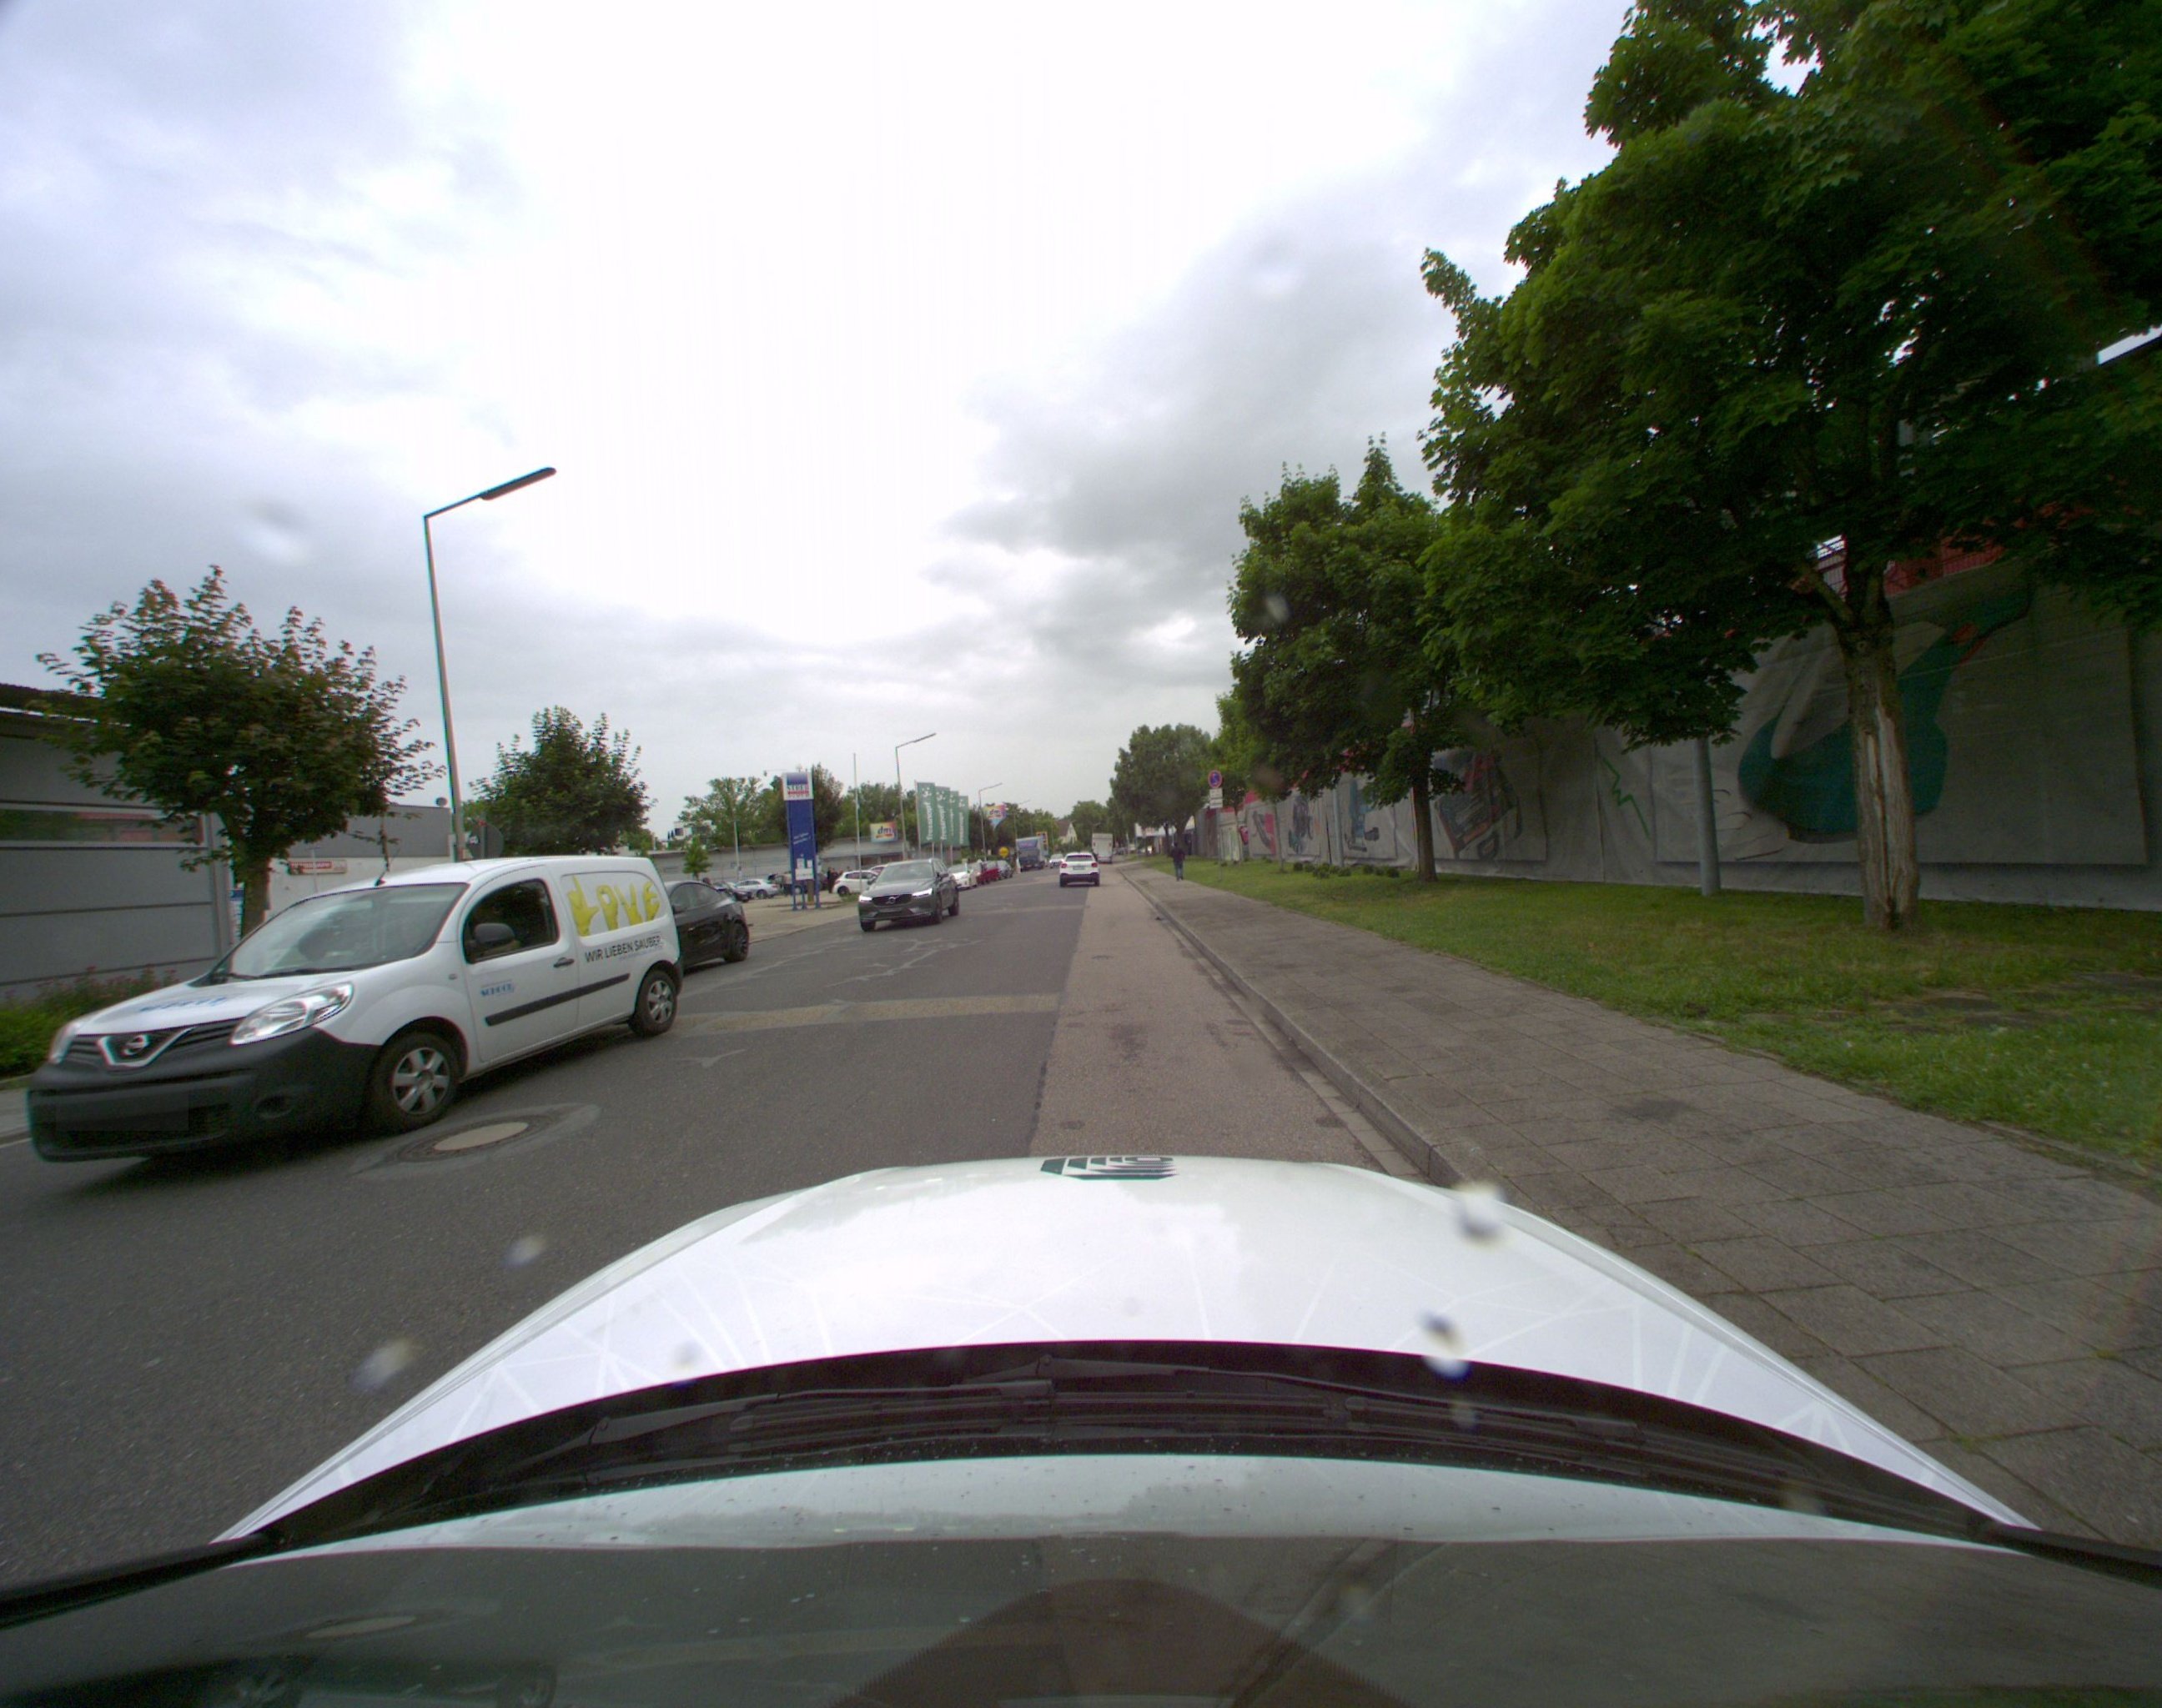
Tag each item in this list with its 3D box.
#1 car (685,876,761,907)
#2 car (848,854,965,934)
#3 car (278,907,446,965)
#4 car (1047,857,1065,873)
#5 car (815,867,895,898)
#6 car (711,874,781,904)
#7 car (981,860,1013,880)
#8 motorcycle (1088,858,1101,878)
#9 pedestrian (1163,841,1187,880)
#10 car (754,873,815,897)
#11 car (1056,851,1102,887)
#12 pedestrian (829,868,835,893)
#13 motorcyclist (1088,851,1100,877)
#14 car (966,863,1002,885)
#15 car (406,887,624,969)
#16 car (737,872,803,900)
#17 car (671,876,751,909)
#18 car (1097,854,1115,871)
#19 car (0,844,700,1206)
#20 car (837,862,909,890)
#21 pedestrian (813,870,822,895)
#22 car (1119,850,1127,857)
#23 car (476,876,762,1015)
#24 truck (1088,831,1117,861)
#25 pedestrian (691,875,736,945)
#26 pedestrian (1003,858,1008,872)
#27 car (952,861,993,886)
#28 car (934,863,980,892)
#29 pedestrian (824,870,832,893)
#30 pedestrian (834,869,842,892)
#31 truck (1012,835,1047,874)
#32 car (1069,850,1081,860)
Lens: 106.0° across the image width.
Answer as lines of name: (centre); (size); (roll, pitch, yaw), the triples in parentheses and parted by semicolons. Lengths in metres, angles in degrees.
car: (-23.396, 2.432, 53.342); (3.973, 1.669, 1.877); (-5, 0, 1)
car: (-4.362, 0.924, 21.122); (1.927, 1.683, 4.494); (-5, 0, 0)
car: (-23.795, 2.662, 27.189); (1.862, 1.485, 4.004); (-3, -1, 3)
car: (-2.784, 1.249, 89.920); (1.597, 1.528, 3.521); (-6, -1, -5)
car: (-13.326, 1.674, 48.218); (4.199, 1.463, 1.948); (-4, 0, -7)
car: (-23.444, 2.441, 57.030); (3.973, 1.669, 1.877); (-5, 0, 1)
car: (-6.517, 1.211, 63.868); (1.891, 1.367, 4.001); (-4, 0, 1)
motorcycle: (0.851, 0.853, 50.222); (0.638, 1.178, 2.115); (-4, 0, 3)
pedestrian: (4.048, 0.269, 35.086); (0.915, 1.635, 0.853); (-3, -1, 3)
car: (-23.058, 2.430, 63.421); (3.972, 1.492, 1.787); (-4, 0, 2)
car: (-0.035, 0.645, 37.521); (1.879, 1.531, 4.256); (-2, 0, 2)
pedestrian: (-17.310, 1.862, 56.602); (0.263, 1.729, 0.421); (-4, 0, -11)
motorcyclist: (0.798, 0.616, 50.273); (0.622, 1.554, 0.604); (-4, 0, 3)
car: (-6.850, 1.388, 57.982); (1.891, 1.367, 4.001); (-4, 0, 1)
car: (-13.606, 1.746, 19.742); (3.859, 1.620, 1.928); (-3, 0, 1)
car: (-22.684, 2.328, 59.462); (3.973, 1.669, 1.877); (-5, 0, 1)
car: (-23.073, 2.380, 50.865); (3.973, 1.669, 1.877); (-5, 0, 1)
car: (2.986, 0.996, 96.711); (1.987, 1.806, 3.999); (-3, -1, 0)
car: (-5.012, 0.913, 6.450); (1.683, 1.760, 4.138); (-7, 0, 3)
car: (-13.527, 1.390, 53.168); (4.128, 1.463, 1.896); (-5, 0, -4)
pedestrian: (-18.233, 1.975, 56.385); (0.456, 1.642, 0.372); (-4, 0, -16)
car: (10.315, -0.178, 200.693); (1.879, 1.683, 4.256); (-2, 0, 2)
car: (-7.253, 1.320, 13.466); (1.940, 1.526, 4.404); (-8, 0, 1)
truck: (2.702, -0.919, 105.866); (3.127, 3.584, 10.041); (-3, -1, -2)
pedestrian: (-9.518, 1.437, 21.106); (0.773, 1.715, 0.696); (-4, 0, -3)
pedestrian: (-8.736, 1.287, 94.169); (0.401, 1.531, 0.484); (-5, 0, -5)
car: (-6.967, 1.217, 52.490); (1.891, 1.367, 4.001); (-4, 0, 1)
car: (-6.957, 1.315, 46.026); (1.892, 1.367, 3.999); (-4, 0, -1)
pedestrian: (-17.428, 1.866, 56.011); (0.359, 1.570, 0.502); (-4, 0, -12)
pedestrian: (-16.987, 1.853, 56.922); (0.330, 1.570, 0.502); (-4, 0, -12)
truck: (-5.725, 0.020, 91.510); (2.962, 3.955, 6.407); (-6, 0, 2)
car: (-1.065, 0.186, 150.508); (1.987, 1.684, 3.999); (-3, -1, 0)
